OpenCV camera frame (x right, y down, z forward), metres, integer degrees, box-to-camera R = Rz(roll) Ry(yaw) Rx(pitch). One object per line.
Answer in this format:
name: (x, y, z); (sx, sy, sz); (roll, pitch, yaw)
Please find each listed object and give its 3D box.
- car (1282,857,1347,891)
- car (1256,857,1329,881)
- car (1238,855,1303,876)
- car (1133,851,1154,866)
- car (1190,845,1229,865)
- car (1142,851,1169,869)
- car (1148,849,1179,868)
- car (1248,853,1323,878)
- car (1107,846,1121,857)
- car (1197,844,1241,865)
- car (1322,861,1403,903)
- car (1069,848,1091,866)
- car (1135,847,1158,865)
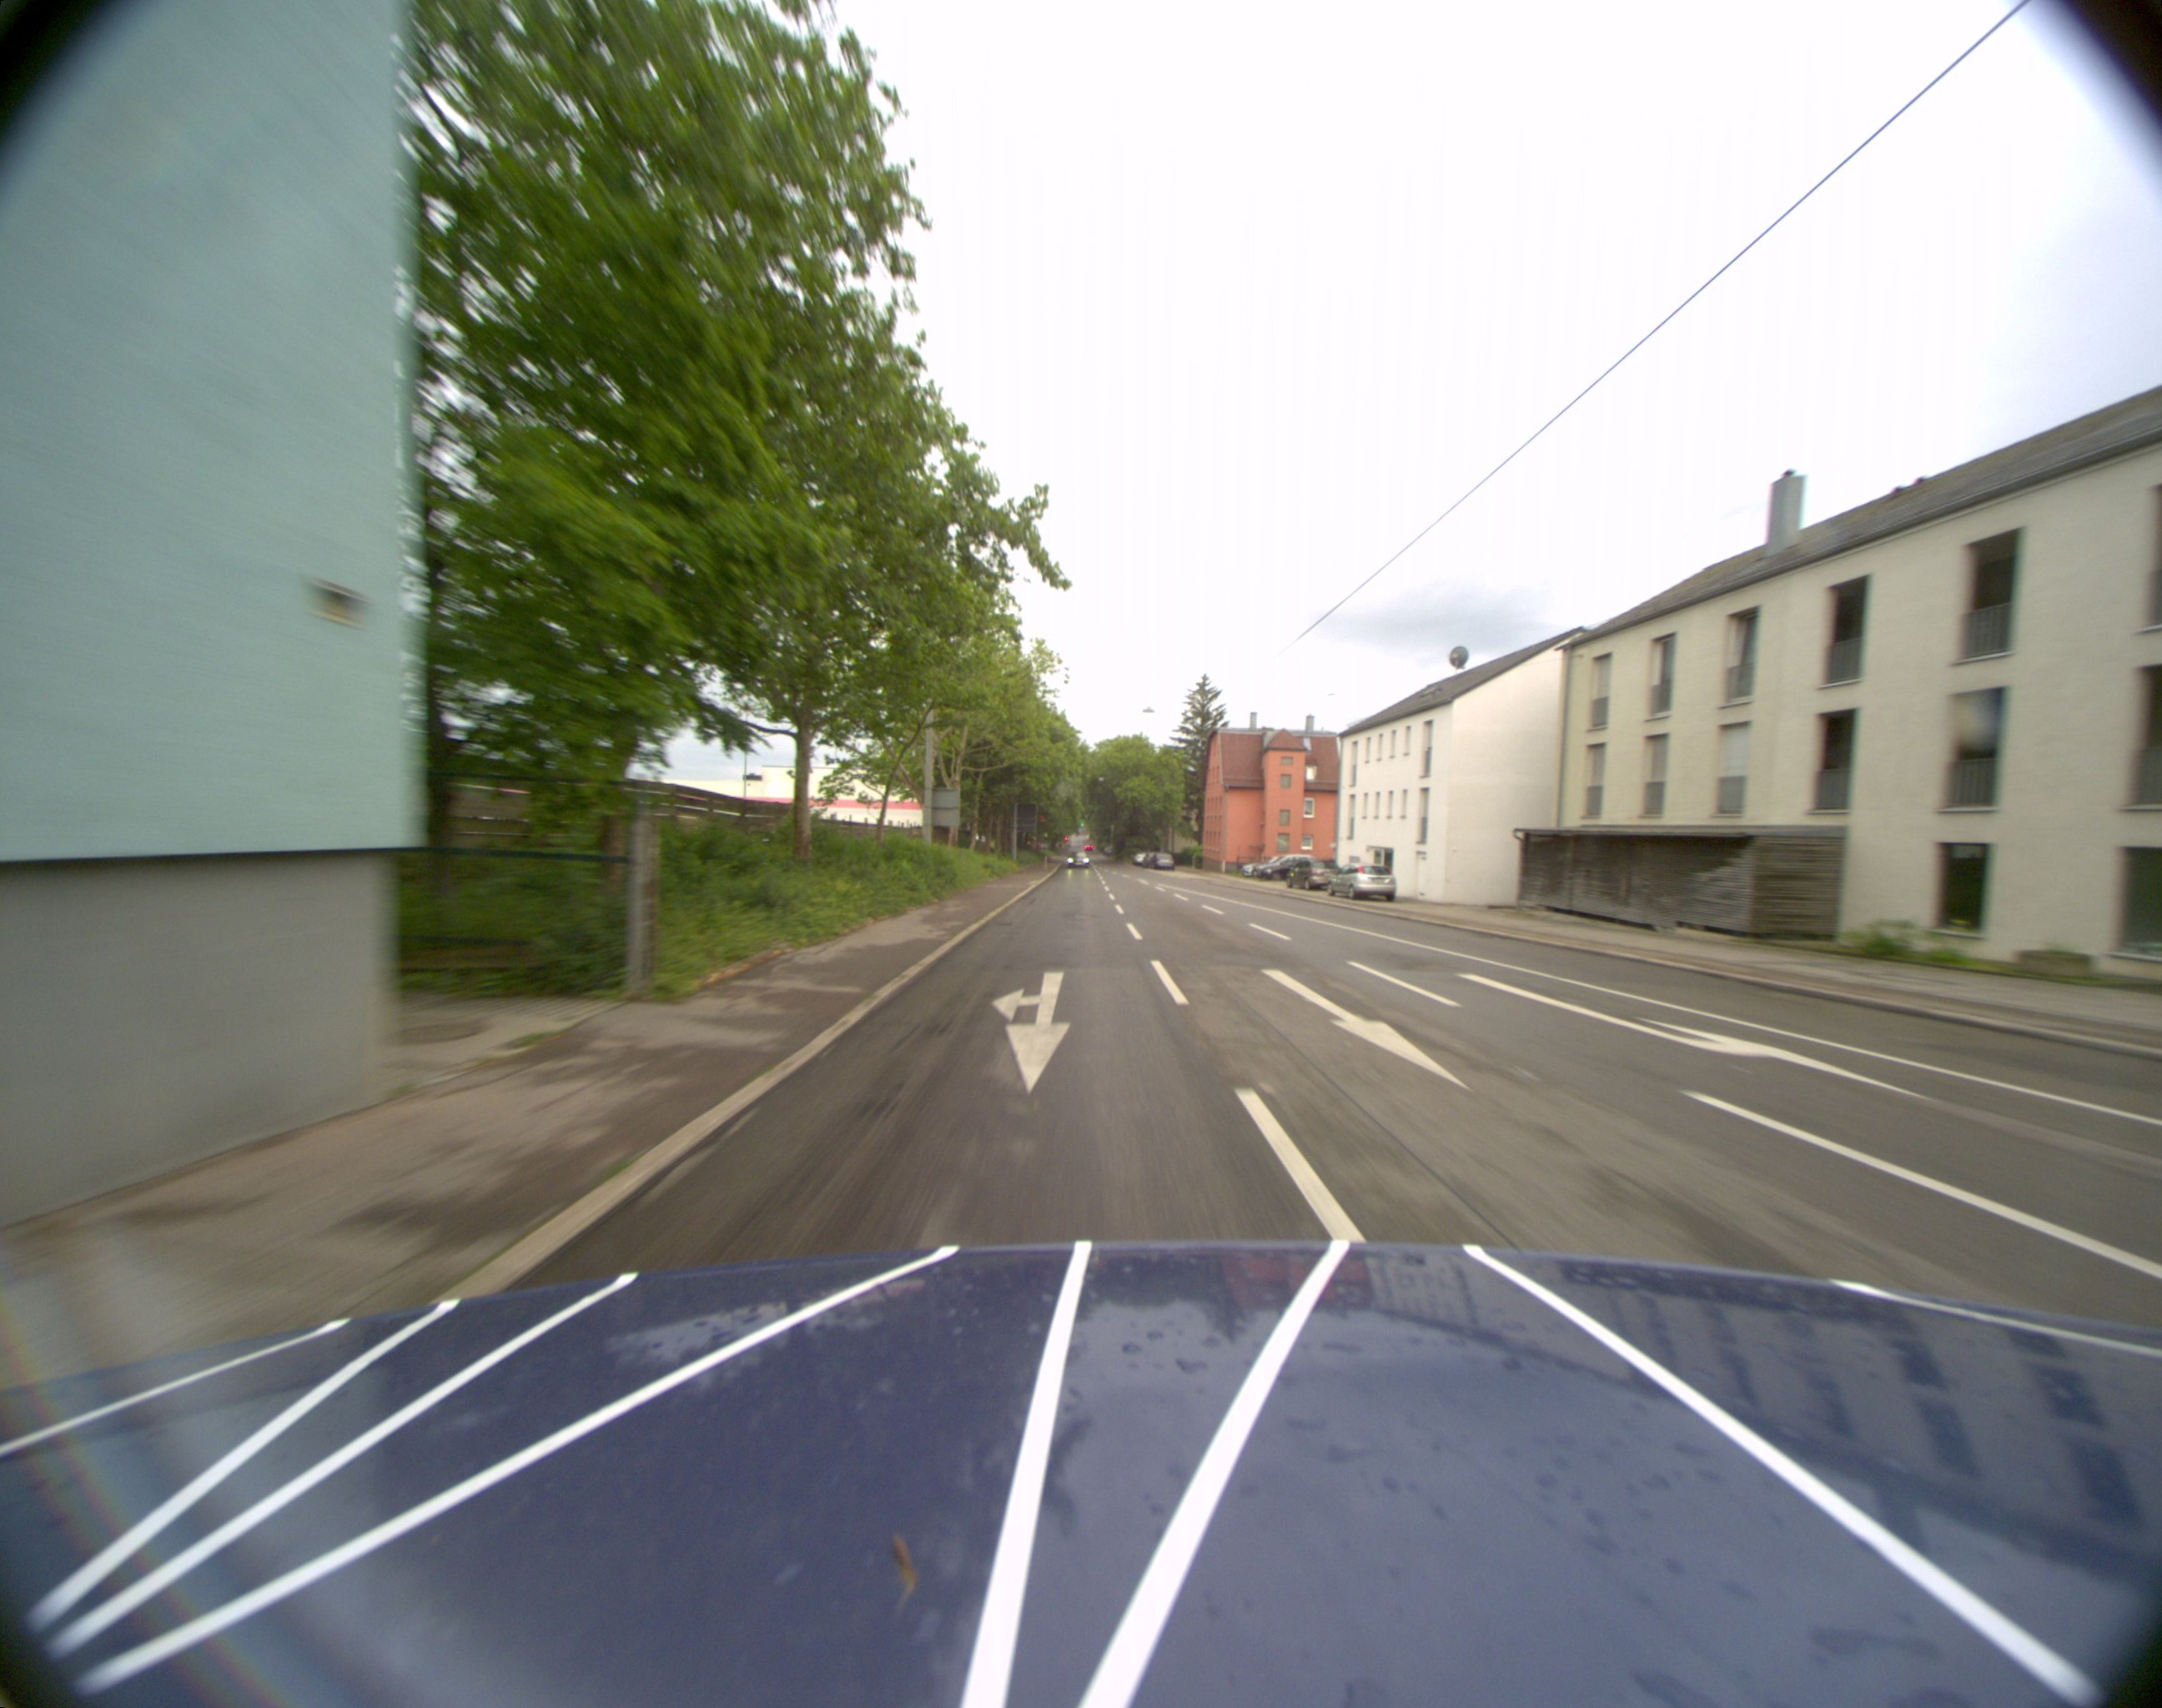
car: (11.715, 0.983, 38.332); (1.750, 1.543, 4.081); (0, 1, -4)
car: (13.458, 0.951, 48.515); (4.136, 1.455, 1.895); (1, 1, 1)
car: (13.388, 0.804, 53.833); (4.172, 1.425, 2.000); (0, 1, 2)
car: (6.573, 0.442, 80.142); (1.816, 1.425, 4.198); (2, 1, 0)
car: (13.617, 0.064, 80.709); (3.994, 2.002, 2.001); (1, 1, 7)
car: (6.654, 0.499, 68.176); (1.817, 1.443, 4.197); (2, 1, -2)
car: (6.849, 0.371, 63.358); (1.789, 1.402, 4.197); (4, 1, -3)
car: (13.773, 0.774, 51.331); (4.542, 1.599, 2.153); (0, 1, 2)
car: (5.071, -0.359, 116.557); (1.842, 1.631, 4.193); (2, 1, 0)
car: (13.937, 0.073, 76.855); (3.998, 2.002, 1.999); (1, 1, -2)
car: (11.525, 1.096, 31.410); (1.749, 1.499, 4.177); (2, 1, 0)
car: (-0.109, 0.245, 67.188); (1.842, 1.403, 3.999); (2, 1, 0)
car: (6.395, 0.197, 74.544); (1.816, 1.537, 4.198); (5, 1, 0)
